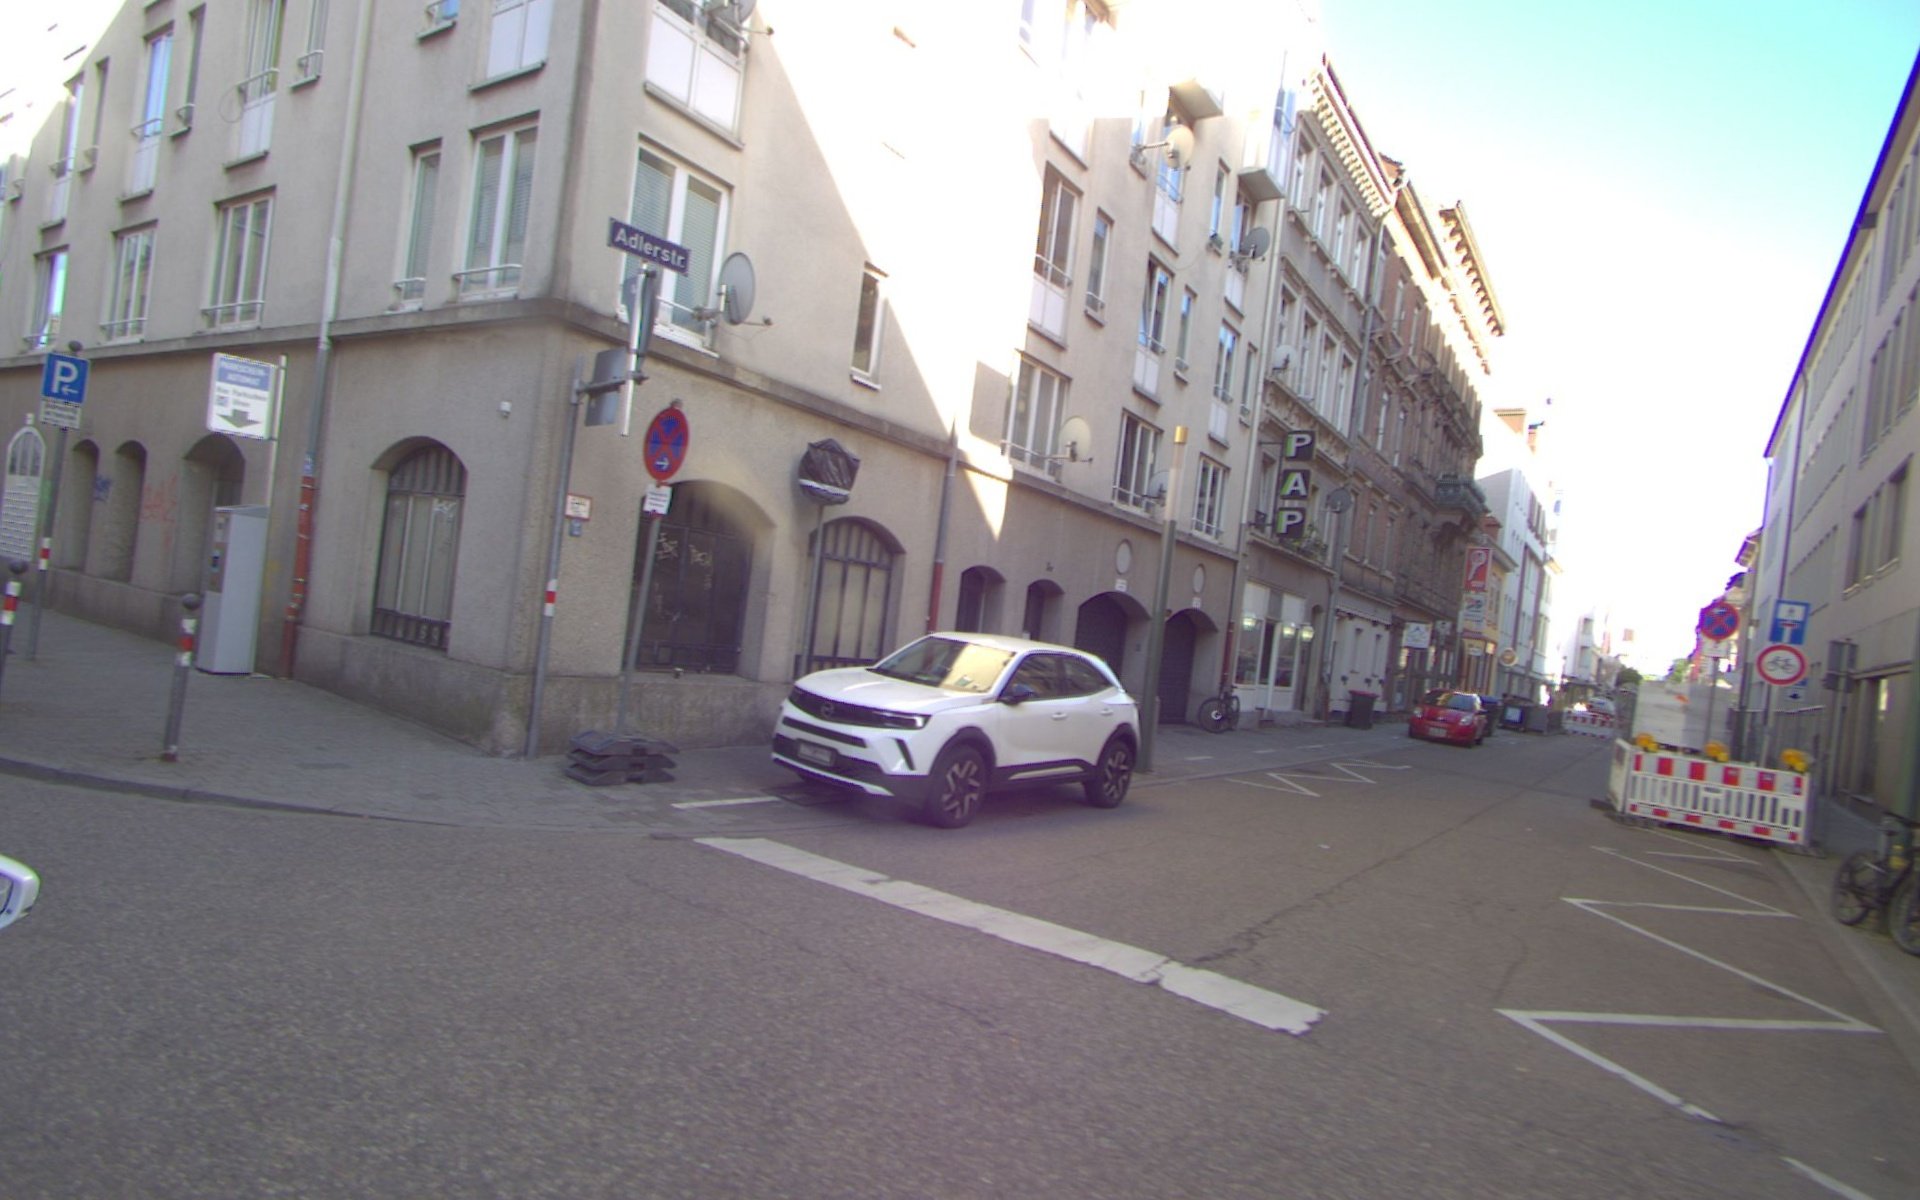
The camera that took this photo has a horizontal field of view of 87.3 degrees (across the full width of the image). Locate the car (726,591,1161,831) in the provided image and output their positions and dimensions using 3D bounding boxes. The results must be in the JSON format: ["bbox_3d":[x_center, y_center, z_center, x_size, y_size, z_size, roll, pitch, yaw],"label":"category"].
[{"bbox_3d":[0.076,1.009,9.364,1.741,1.586,4.069,7,-2,38],"label":"car"}]

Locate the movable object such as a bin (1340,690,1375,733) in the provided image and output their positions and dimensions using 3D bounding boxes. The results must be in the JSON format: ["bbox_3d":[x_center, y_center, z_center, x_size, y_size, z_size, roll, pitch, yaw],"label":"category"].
[{"bbox_3d":[11.356,3.175,28.752,0.679,1.088,0.449,10,2,34],"label":"movable object such as a bin"}]

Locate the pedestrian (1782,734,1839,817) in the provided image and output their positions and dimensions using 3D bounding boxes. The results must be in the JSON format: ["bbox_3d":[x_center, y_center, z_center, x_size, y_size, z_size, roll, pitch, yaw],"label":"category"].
[{"bbox_3d":[17.869,3.672,21.152,0.711,1.605,0.636,7,0,36],"label":"pedestrian"}]

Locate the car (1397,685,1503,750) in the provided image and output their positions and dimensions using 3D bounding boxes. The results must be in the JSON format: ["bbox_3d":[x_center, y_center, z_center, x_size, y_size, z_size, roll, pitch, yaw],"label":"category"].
[{"bbox_3d":[14.215,3.401,29.090,1.889,1.495,3.791,7,-2,38],"label":"car"}]

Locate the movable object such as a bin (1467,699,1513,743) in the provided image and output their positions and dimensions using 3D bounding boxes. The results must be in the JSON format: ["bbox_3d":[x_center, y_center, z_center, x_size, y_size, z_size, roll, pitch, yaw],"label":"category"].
[{"bbox_3d":[19.364,4.407,36.738,1.037,1.407,1.994,8,-1,38],"label":"movable object such as a bin"}]

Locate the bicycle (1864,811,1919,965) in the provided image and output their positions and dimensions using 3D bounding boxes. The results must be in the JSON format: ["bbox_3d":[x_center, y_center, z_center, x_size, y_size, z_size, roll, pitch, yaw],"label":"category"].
[{"bbox_3d":[7.862,2.311,8.165,1.641,1.086,0.482,9,-2,-41],"label":"bicycle"}]

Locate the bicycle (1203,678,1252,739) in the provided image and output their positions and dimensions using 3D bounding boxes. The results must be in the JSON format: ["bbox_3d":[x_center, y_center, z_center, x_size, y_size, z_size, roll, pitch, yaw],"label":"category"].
[{"bbox_3d":[5.485,2.213,20.568,0.424,1.157,1.589,7,-1,31],"label":"bicycle"}]

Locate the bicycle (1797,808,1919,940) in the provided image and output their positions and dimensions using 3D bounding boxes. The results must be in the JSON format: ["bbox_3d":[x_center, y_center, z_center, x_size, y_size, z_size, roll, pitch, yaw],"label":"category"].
[{"bbox_3d":[8.150,2.448,9.093,1.410,1.019,0.466,9,-1,-35],"label":"bicycle"}]
